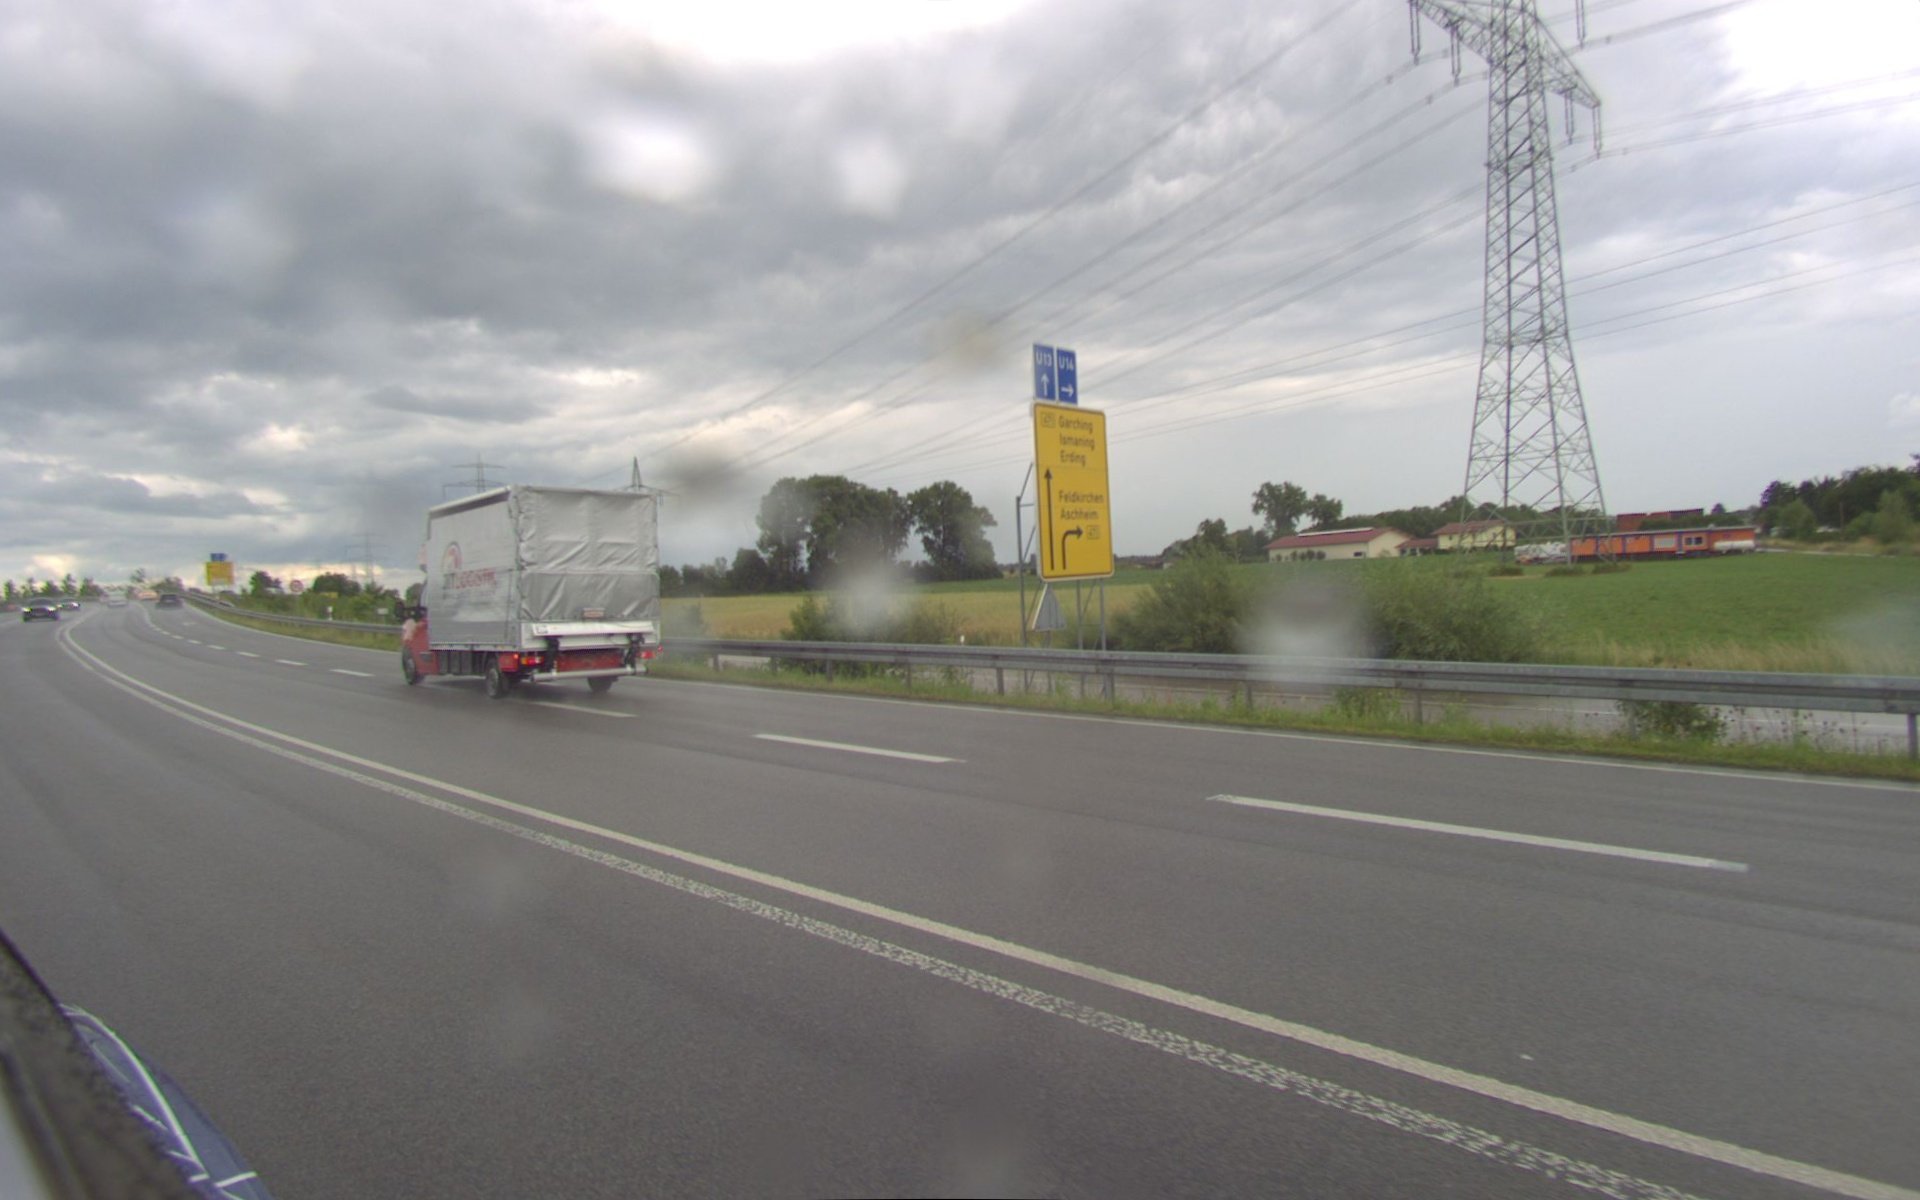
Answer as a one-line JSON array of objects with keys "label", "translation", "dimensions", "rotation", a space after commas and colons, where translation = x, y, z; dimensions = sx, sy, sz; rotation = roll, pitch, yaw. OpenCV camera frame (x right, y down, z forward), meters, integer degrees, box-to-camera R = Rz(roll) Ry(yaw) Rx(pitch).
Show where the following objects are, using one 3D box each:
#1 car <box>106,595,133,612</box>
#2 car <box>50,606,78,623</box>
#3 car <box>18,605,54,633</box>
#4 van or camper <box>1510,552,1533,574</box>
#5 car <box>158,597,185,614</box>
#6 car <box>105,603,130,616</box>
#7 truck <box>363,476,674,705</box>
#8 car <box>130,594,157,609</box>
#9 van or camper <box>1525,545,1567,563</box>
[{"label": "car", "translation": [-84.968, 0.307, 102.391], "dimensions": [1.766, 1.678, 4.381], "rotation": [0, 0, -36]}, {"label": "car", "translation": [-92.938, 1.460, 105.016], "dimensions": [1.721, 1.508, 4.060], "rotation": [-3, 4, -36]}, {"label": "car", "translation": [-65.956, 1.356, 72.200], "dimensions": [1.771, 1.782, 4.003], "rotation": [-3, 0, -44]}, {"label": "van or camper", "translation": [77.671, -5.170, 139.999], "dimensions": [2.316, 2.651, 5.670], "rotation": [-2, 3, 26]}, {"label": "car", "translation": [-71.155, 0.471, 91.328], "dimensions": [1.871, 1.452, 4.910], "rotation": [-3, 2, -38]}, {"label": "car", "translation": [-99.685, 1.103, 119.798], "dimensions": [1.743, 1.511, 4.221], "rotation": [-2, 1, -33]}, {"label": "truck", "translation": [-8.138, -0.047, 18.081], "dimensions": [7.281, 3.317, 2.453], "rotation": [-2, -2, 44]}, {"label": "car", "translation": [-103.162, 0.181, 127.921], "dimensions": [1.917, 1.672, 4.660], "rotation": [-5, 4, -31]}, {"label": "van or camper", "translation": [94.613, -7.393, 163.464], "dimensions": [5.703, 2.651, 2.303], "rotation": [-1, 3, 34]}]
